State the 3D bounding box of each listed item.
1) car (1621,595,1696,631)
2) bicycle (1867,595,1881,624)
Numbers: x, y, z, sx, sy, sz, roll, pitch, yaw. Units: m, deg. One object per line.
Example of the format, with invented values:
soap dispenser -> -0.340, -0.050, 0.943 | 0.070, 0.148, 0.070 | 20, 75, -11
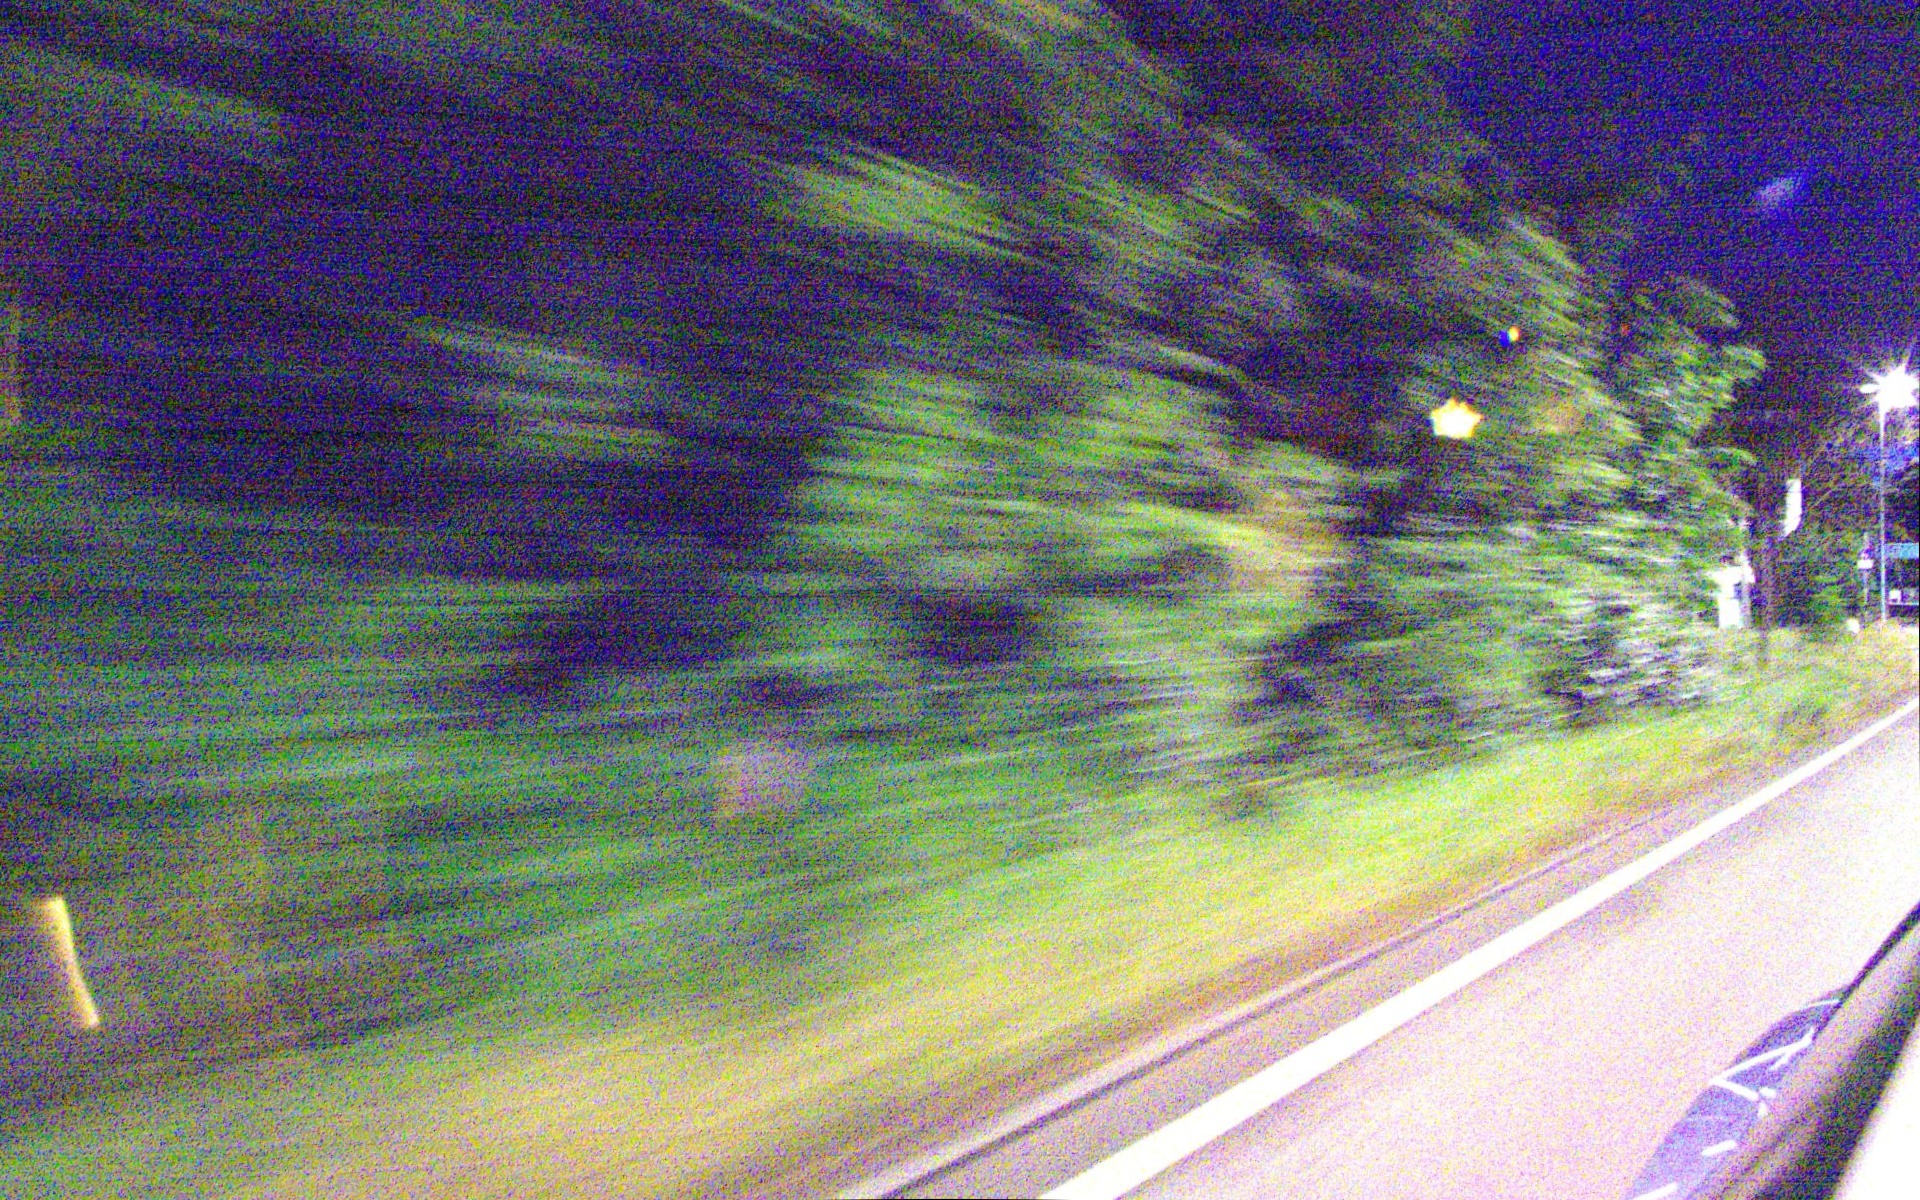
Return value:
car -> 31.610, 0.563, 45.899 | 1.684, 1.524, 3.575 | -2, -1, 16
bicycle -> 35.092, 0.348, 38.853 | 0.294, 0.994, 1.918 | -1, 3, 39
